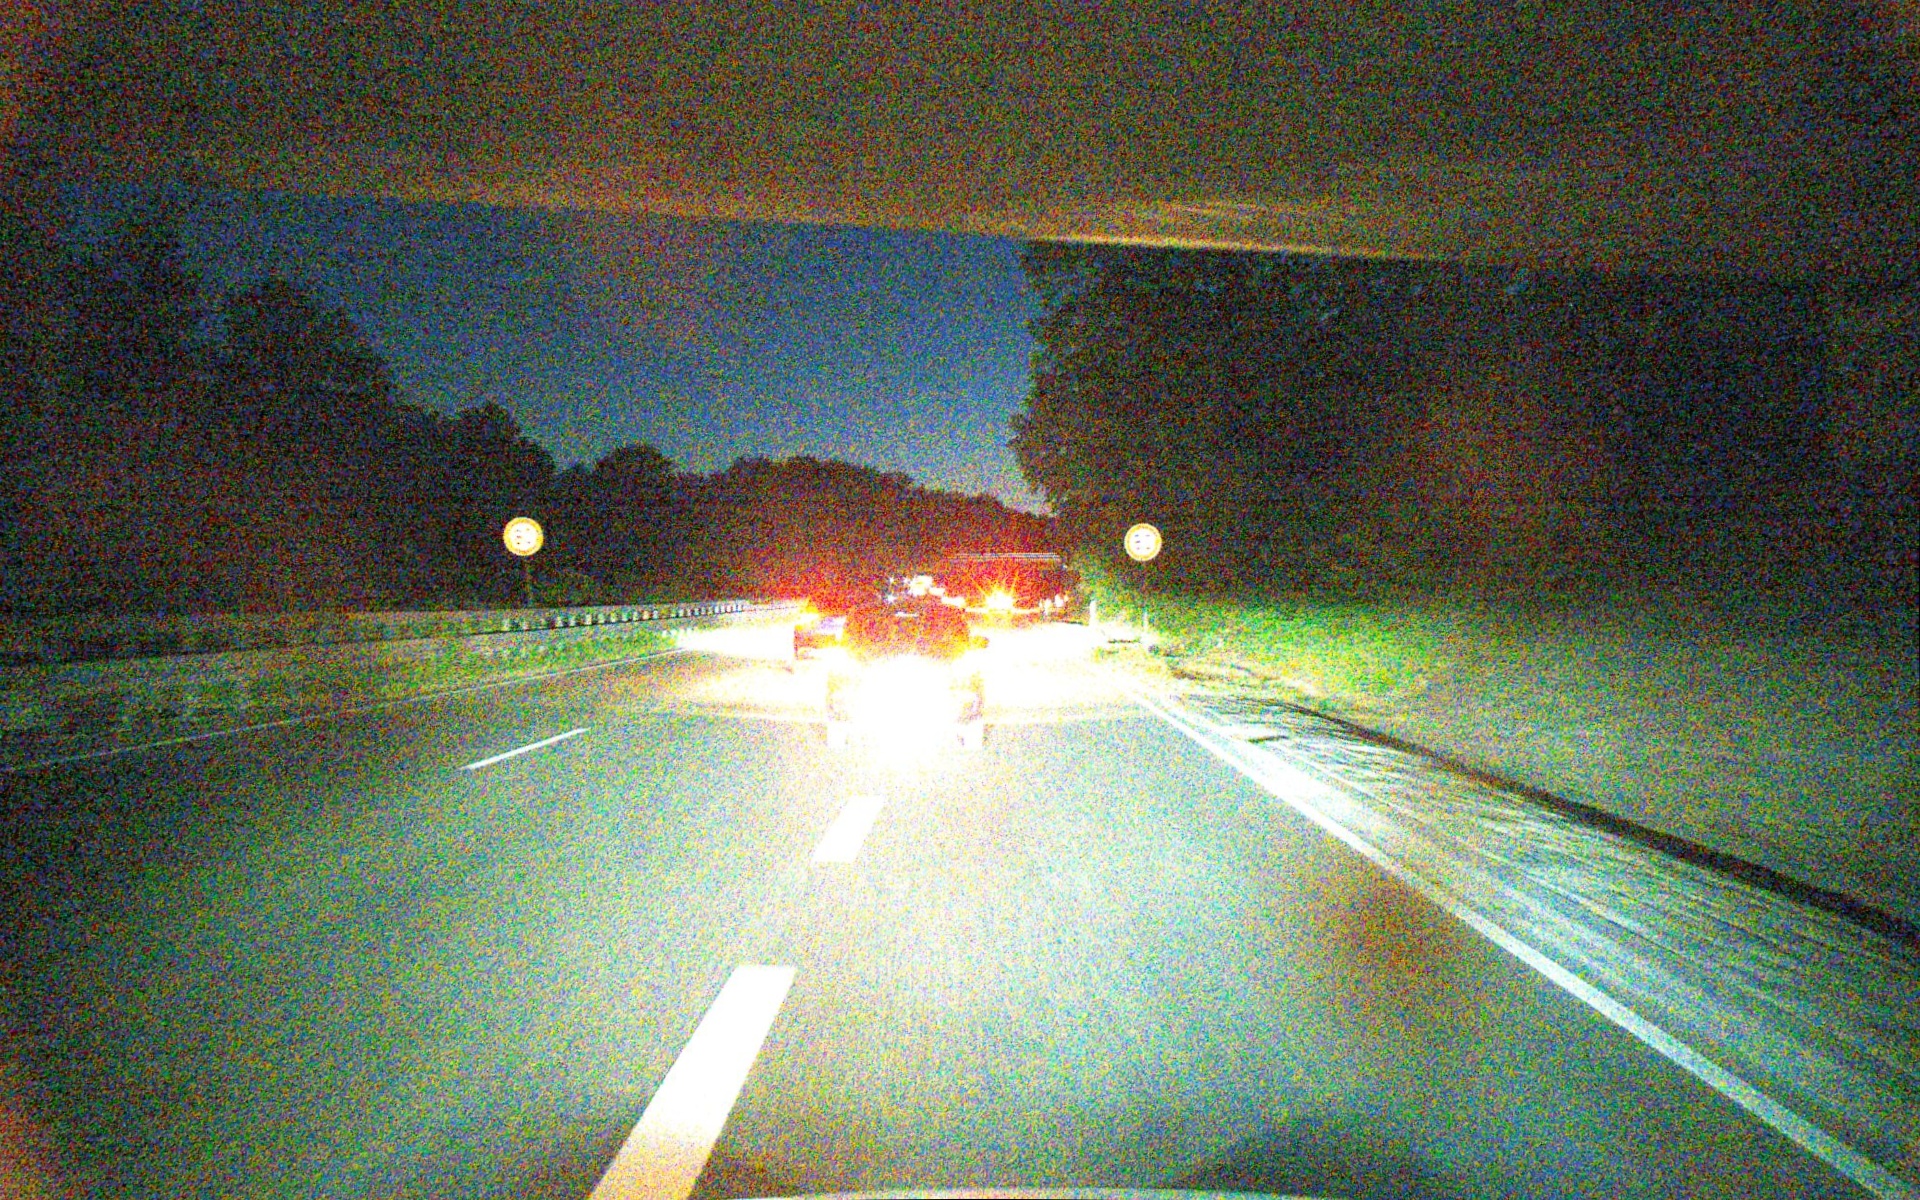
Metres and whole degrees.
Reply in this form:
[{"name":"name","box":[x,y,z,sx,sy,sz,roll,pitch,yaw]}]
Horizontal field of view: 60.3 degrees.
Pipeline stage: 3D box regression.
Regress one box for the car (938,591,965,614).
[{"name":"car","box":[-0.665,0.214,129.353,1.911,1.565,4.241,-4,-2,1]}]

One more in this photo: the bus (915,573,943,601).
[{"name":"bus","box":[-3.844,-1.657,206.122,2.863,3.446,12.311,0,1,2]}]

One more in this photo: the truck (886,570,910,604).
[{"name":"truck","box":[-7.891,-1.659,211.556,2.620,4.250,5.870,0,0,3]}]

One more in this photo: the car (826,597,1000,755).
[{"name":"car","box":[-0.566,0.736,17.981,1.658,1.503,3.997,1,0,-3]}]

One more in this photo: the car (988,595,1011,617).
[{"name":"car","box":[3.085,0.444,128.872,1.698,1.646,3.798,1,0,0]}]

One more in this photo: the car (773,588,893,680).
[{"name":"car","box":[-2.397,0.608,32.387,1.900,1.636,4.644,1,0,1]}]
